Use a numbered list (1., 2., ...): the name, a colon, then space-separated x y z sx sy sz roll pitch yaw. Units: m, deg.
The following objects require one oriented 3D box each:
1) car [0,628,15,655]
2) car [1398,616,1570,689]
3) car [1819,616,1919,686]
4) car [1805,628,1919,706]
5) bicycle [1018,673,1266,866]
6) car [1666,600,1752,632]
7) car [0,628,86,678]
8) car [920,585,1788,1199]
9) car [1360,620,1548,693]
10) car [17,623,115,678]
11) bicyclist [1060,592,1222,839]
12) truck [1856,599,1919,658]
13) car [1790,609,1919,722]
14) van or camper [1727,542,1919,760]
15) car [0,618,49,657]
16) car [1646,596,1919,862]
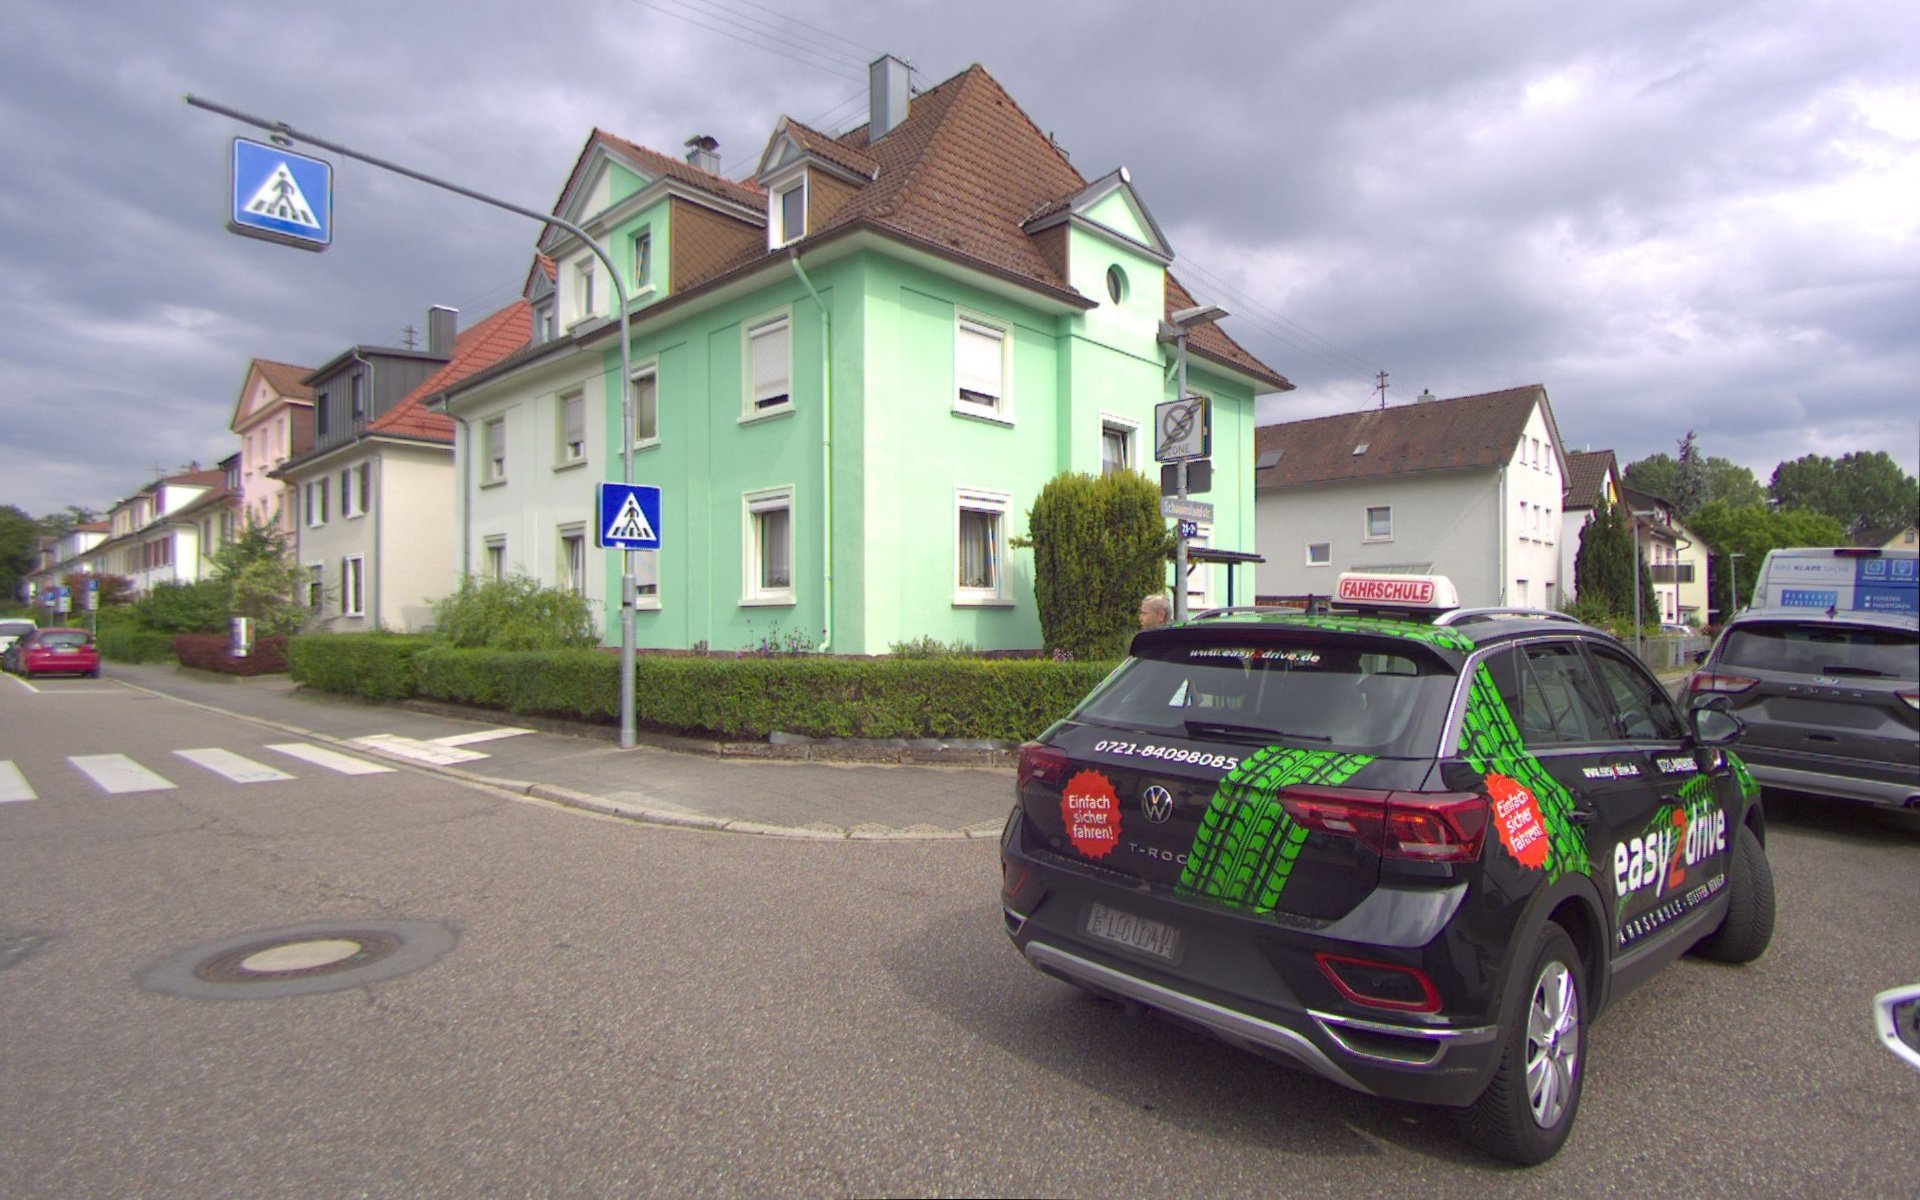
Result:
1. car: -59.212 2.545 61.351 3.945 1.595 1.988 -1 -2 44
2. car: 12.957 1.259 24.925 3.529 1.689 1.580 -1 -2 40
3. car: 24.999 1.336 27.697 1.971 1.772 4.320 -1 -1 41
4. car: 19.659 1.374 21.796 1.971 1.475 4.320 -1 -2 41
5. bicycle: 1.380 1.183 7.472 1.853 1.167 0.701 0 0 -34
6. car: 44.130 0.954 59.209 3.941 1.795 1.861 -1 -3 41
7. car: -31.777 1.784 34.758 3.945 1.595 1.988 -1 -2 44
8. car: 1.945 0.805 4.172 4.014 1.540 1.799 2 -2 -43
9. car: 11.052 1.226 22.583 3.529 1.520 1.580 -1 -2 40
10. car: -27.919 1.531 31.341 3.945 1.595 1.988 -1 -2 44
11. bicyclist: 1.339 0.794 7.443 0.965 1.688 0.692 0 0 -33
12. truck: 43.948 1.329 47.607 2.106 2.692 4.560 -1 -1 41
13. car: 16.278 1.087 18.072 1.971 1.795 4.320 -1 -1 41
14. van or camper: 12.223 0.626 13.831 2.168 2.491 5.026 -1 -1 43
15. car: -47.685 1.872 50.897 3.945 1.929 1.988 -1 -2 44
16. car: 7.347 0.889 8.590 1.971 1.749 4.320 -1 -1 41
